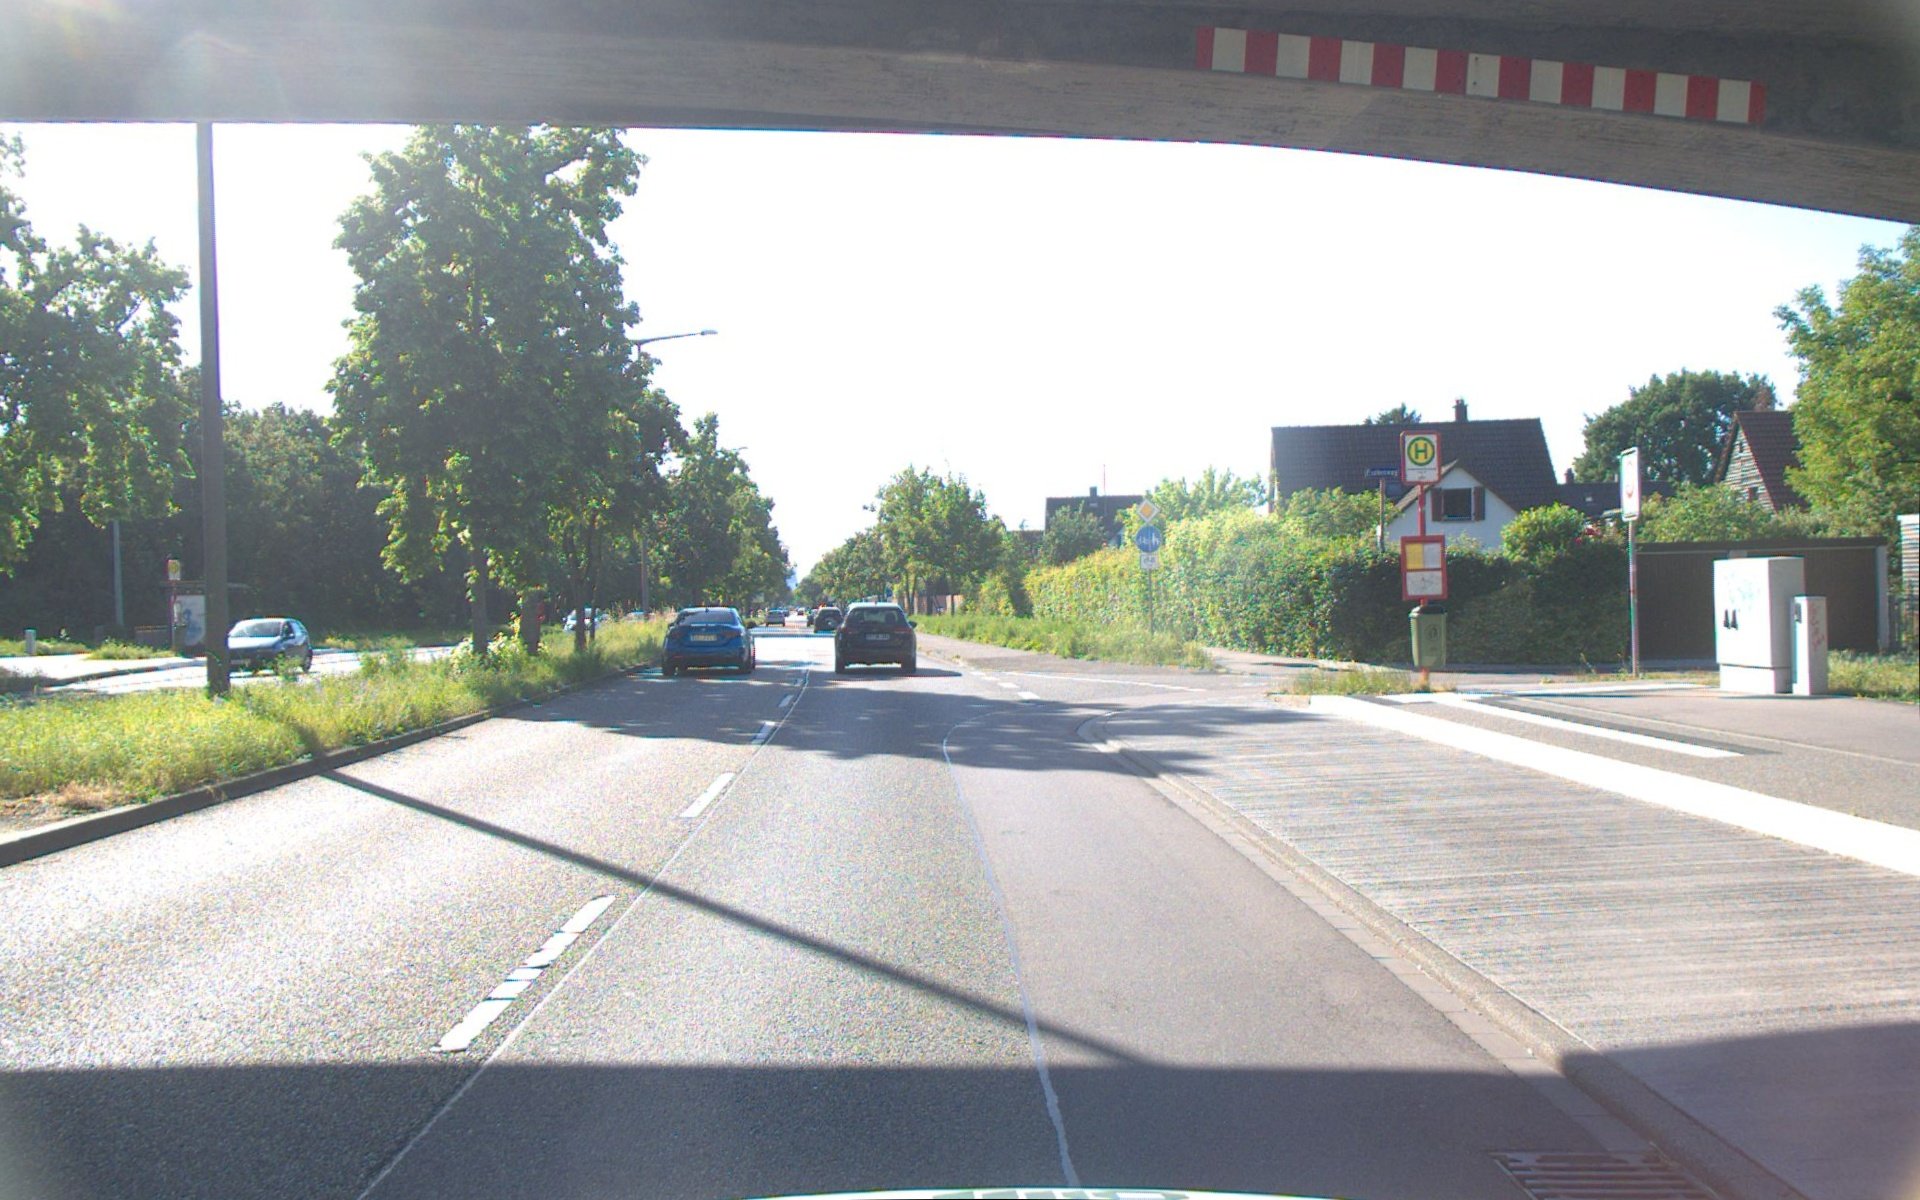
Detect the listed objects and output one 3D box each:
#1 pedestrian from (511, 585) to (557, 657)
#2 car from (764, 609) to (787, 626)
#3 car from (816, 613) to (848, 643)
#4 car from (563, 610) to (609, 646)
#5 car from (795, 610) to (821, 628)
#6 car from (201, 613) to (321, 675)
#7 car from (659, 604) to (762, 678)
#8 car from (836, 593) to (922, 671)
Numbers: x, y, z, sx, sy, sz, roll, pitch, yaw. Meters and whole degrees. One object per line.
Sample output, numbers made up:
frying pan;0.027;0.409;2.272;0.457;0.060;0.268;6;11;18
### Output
pedestrian;-10.469;0.510;40.690;0.618;1.726;0.942;-1;0;24
car;-17.089;1.593;152.992;1.942;1.465;3.991;-1;1;-10
car;-7.673;1.658;98.855;1.711;1.625;4.168;-1;0;-8
car;-18.357;1.374;81.338;1.697;1.660;4.192;-2;0;-6
car;-12.793;1.558;138.914;1.864;1.379;3.991;-1;1;-10
car;-18.415;1.134;43.774;1.509;1.456;4.253;-2;0;-3
car;-5.395;0.847;36.174;1.956;1.429;3.996;-2;0;-5
car;-1.815;0.693;36.085;1.726;1.587;3.995;1;-1;-5
